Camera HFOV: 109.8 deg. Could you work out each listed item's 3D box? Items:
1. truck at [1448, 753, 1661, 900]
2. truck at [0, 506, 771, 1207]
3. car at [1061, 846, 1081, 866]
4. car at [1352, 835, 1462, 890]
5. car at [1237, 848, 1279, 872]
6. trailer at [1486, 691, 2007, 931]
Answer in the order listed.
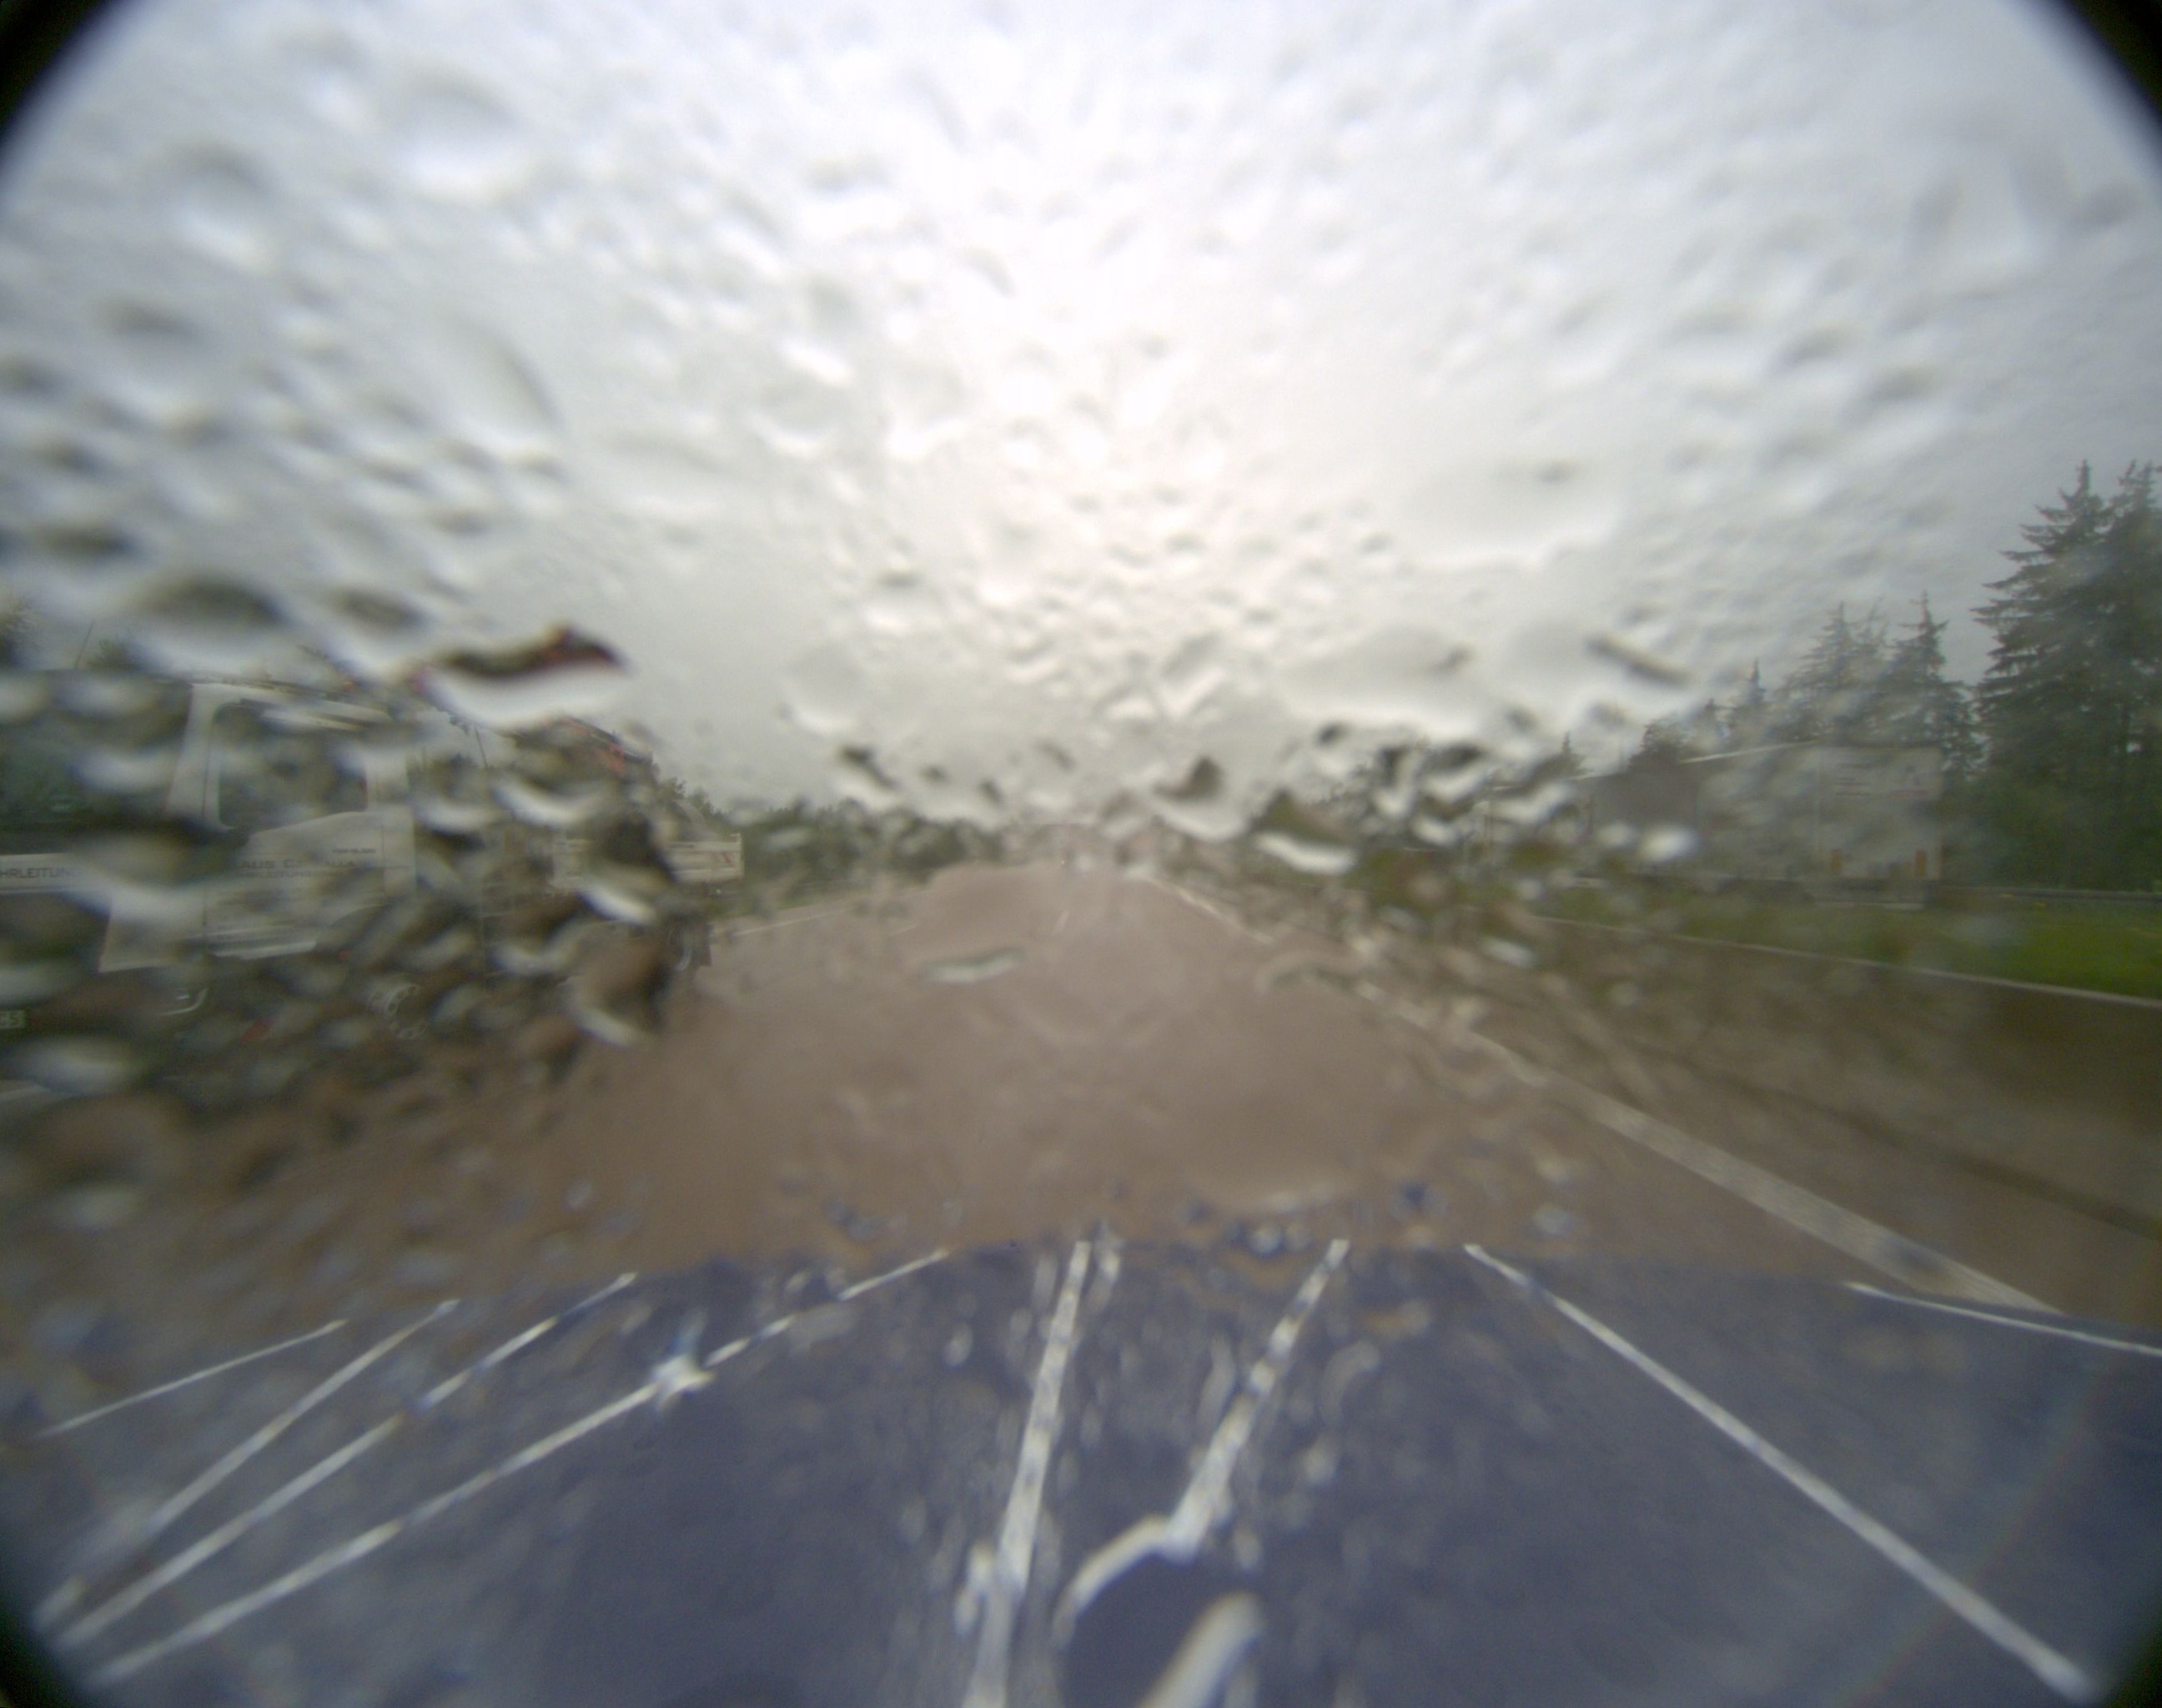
[{"bbox_3d":[17.868,-0.998,29.463,3.688,4.843,7.254,-2,1,1],"label":"truck"},{"bbox_3d":[-6.670,0.051,8.046,3.242,3.708,7.954,-2,0,1],"label":"truck"},{"bbox_3d":[-1.017,0.204,79.772,1.998,2.002,4.276,-3,1,0],"label":"car"},{"bbox_3d":[13.280,0.287,31.364,2.312,2.002,5.151,-2,0,0],"label":"car"},{"bbox_3d":[15.487,0.496,66.783,2.312,1.966,5.755,-3,0,0],"label":"car"},{"bbox_3d":[17.771,-0.948,22.950,3.764,4.924,13.680,-2,0,1],"label":"trailer"}]
